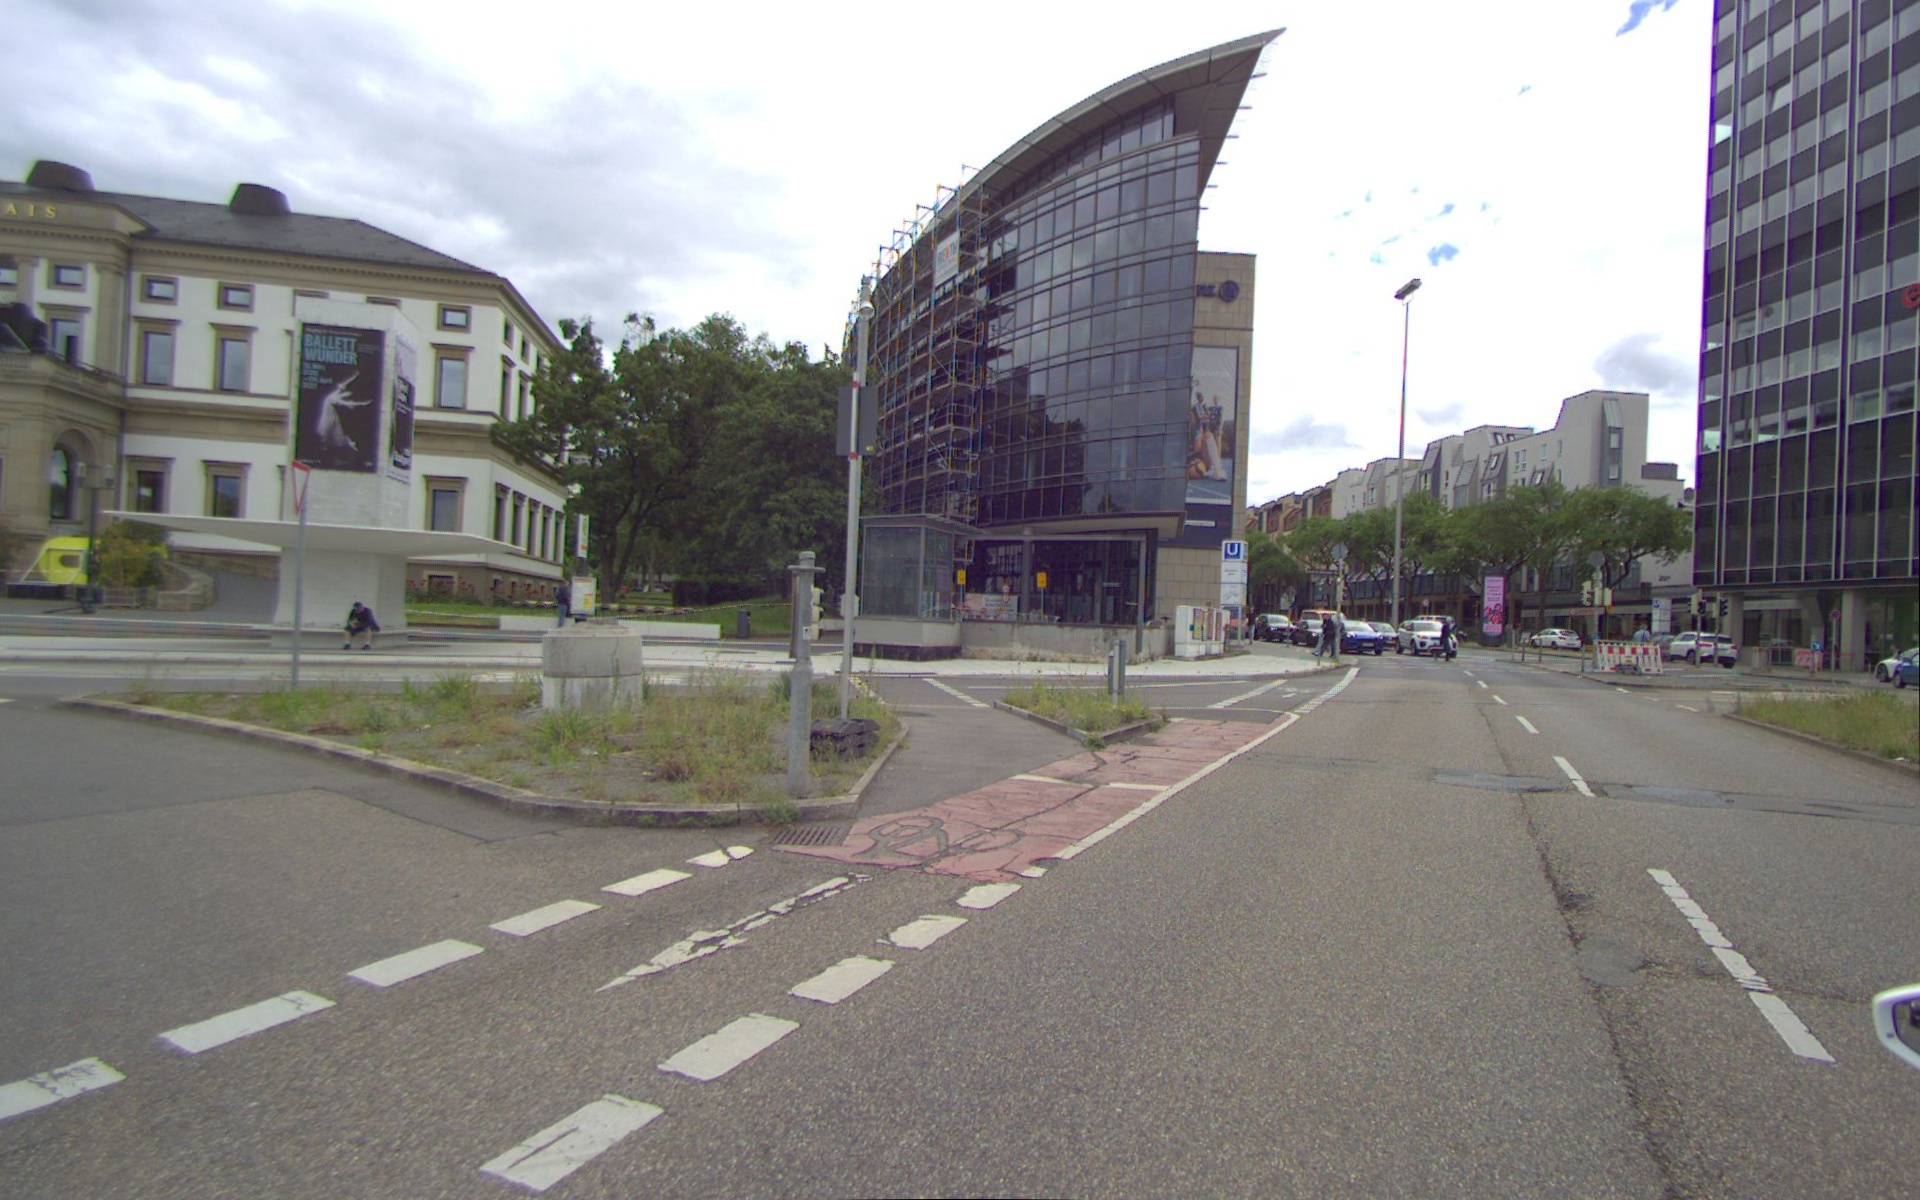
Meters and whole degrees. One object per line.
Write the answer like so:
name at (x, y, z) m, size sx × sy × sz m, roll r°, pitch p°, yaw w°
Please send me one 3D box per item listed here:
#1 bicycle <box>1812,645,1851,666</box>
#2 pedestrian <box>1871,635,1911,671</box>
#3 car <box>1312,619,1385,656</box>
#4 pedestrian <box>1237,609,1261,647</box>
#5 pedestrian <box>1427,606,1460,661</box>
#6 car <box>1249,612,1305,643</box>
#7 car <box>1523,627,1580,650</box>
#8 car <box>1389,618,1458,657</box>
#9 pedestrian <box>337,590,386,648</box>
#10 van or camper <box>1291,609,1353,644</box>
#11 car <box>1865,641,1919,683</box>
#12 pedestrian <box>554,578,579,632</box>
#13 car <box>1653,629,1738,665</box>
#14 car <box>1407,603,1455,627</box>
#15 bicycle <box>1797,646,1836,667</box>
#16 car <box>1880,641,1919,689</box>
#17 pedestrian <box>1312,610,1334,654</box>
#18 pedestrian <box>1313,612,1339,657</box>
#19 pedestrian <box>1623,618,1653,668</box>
bicycle at (48.905, 3.136, 56.385) m, size 0.703 × 1.062 × 1.479 m, roll 3°, pitch 0°, yaw -20°
pedestrian at (45.562, 2.586, 49.171) m, size 1.047 × 1.655 × 0.962 m, roll 2°, pitch 0°, yaw -6°
car at (18.402, 1.760, 47.716) m, size 1.960 × 1.545 × 4.092 m, roll 2°, pitch 0°, yaw 2°
pedestrian at (14.494, 1.402, 50.374) m, size 0.920 × 1.834 × 0.692 m, roll 2°, pitch 0°, yaw -24°
pedestrian at (19.697, 1.358, 40.939) m, size 0.865 × 2.201 × 0.760 m, roll 2°, pitch 0°, yaw -17°
car at (19.301, 1.631, 61.388) m, size 1.960 × 1.667 × 4.683 m, roll 1°, pitch 1°, yaw 1°
car at (41.356, 2.690, 70.319) m, size 2.021 × 1.437 × 4.336 m, roll 1°, pitch 0°, yaw 10°
car at (21.672, 1.727, 47.135) m, size 1.705 × 1.620 × 4.321 m, roll 2°, pitch 0°, yaw 8°
pedestrian at (-14.473, 0.449, 24.289) m, size 0.746 × 1.370 × 0.706 m, roll 2°, pitch 0°, yaw -5°
van or camper at (21.653, 1.564, 60.259) m, size 1.881 × 1.947 × 5.084 m, roll 1°, pitch 0°, yaw 1°
car at (37.644, 2.444, 38.976) m, size 1.801 × 1.537 × 3.769 m, roll 2°, pitch 0°, yaw 4°
pedestrian at (-13.661, 0.185, 34.872) m, size 0.584 × 1.837 × 0.604 m, roll 2°, pitch 0°, yaw 4°
car at (36.776, 2.315, 50.356) m, size 1.801 × 1.587 × 3.769 m, roll 2°, pitch 0°, yaw 7°
car at (38.491, 1.219, 82.219) m, size 1.801 × 1.899 × 4.872 m, roll 2°, pitch 0°, yaw 3°
bicycle at (48.087, 3.177, 56.394) m, size 0.703 × 1.062 × 1.479 m, roll 3°, pitch 0°, yaw -20°
car at (32.772, 2.205, 33.579) m, size 1.803 × 1.537 × 3.765 m, roll 2°, pitch 0°, yaw 23°
pedestrian at (14.493, 1.279, 40.096) m, size 0.631 × 1.723 × 0.632 m, roll 2°, pitch 0°, yaw 5°
pedestrian at (14.353, 1.349, 39.366) m, size 0.754 × 1.723 × 0.632 m, roll 2°, pitch 0°, yaw 5°
pedestrian at (25.085, 1.587, 37.163) m, size 0.703 × 1.815 × 0.634 m, roll -1°, pitch 1°, yaw 1°
